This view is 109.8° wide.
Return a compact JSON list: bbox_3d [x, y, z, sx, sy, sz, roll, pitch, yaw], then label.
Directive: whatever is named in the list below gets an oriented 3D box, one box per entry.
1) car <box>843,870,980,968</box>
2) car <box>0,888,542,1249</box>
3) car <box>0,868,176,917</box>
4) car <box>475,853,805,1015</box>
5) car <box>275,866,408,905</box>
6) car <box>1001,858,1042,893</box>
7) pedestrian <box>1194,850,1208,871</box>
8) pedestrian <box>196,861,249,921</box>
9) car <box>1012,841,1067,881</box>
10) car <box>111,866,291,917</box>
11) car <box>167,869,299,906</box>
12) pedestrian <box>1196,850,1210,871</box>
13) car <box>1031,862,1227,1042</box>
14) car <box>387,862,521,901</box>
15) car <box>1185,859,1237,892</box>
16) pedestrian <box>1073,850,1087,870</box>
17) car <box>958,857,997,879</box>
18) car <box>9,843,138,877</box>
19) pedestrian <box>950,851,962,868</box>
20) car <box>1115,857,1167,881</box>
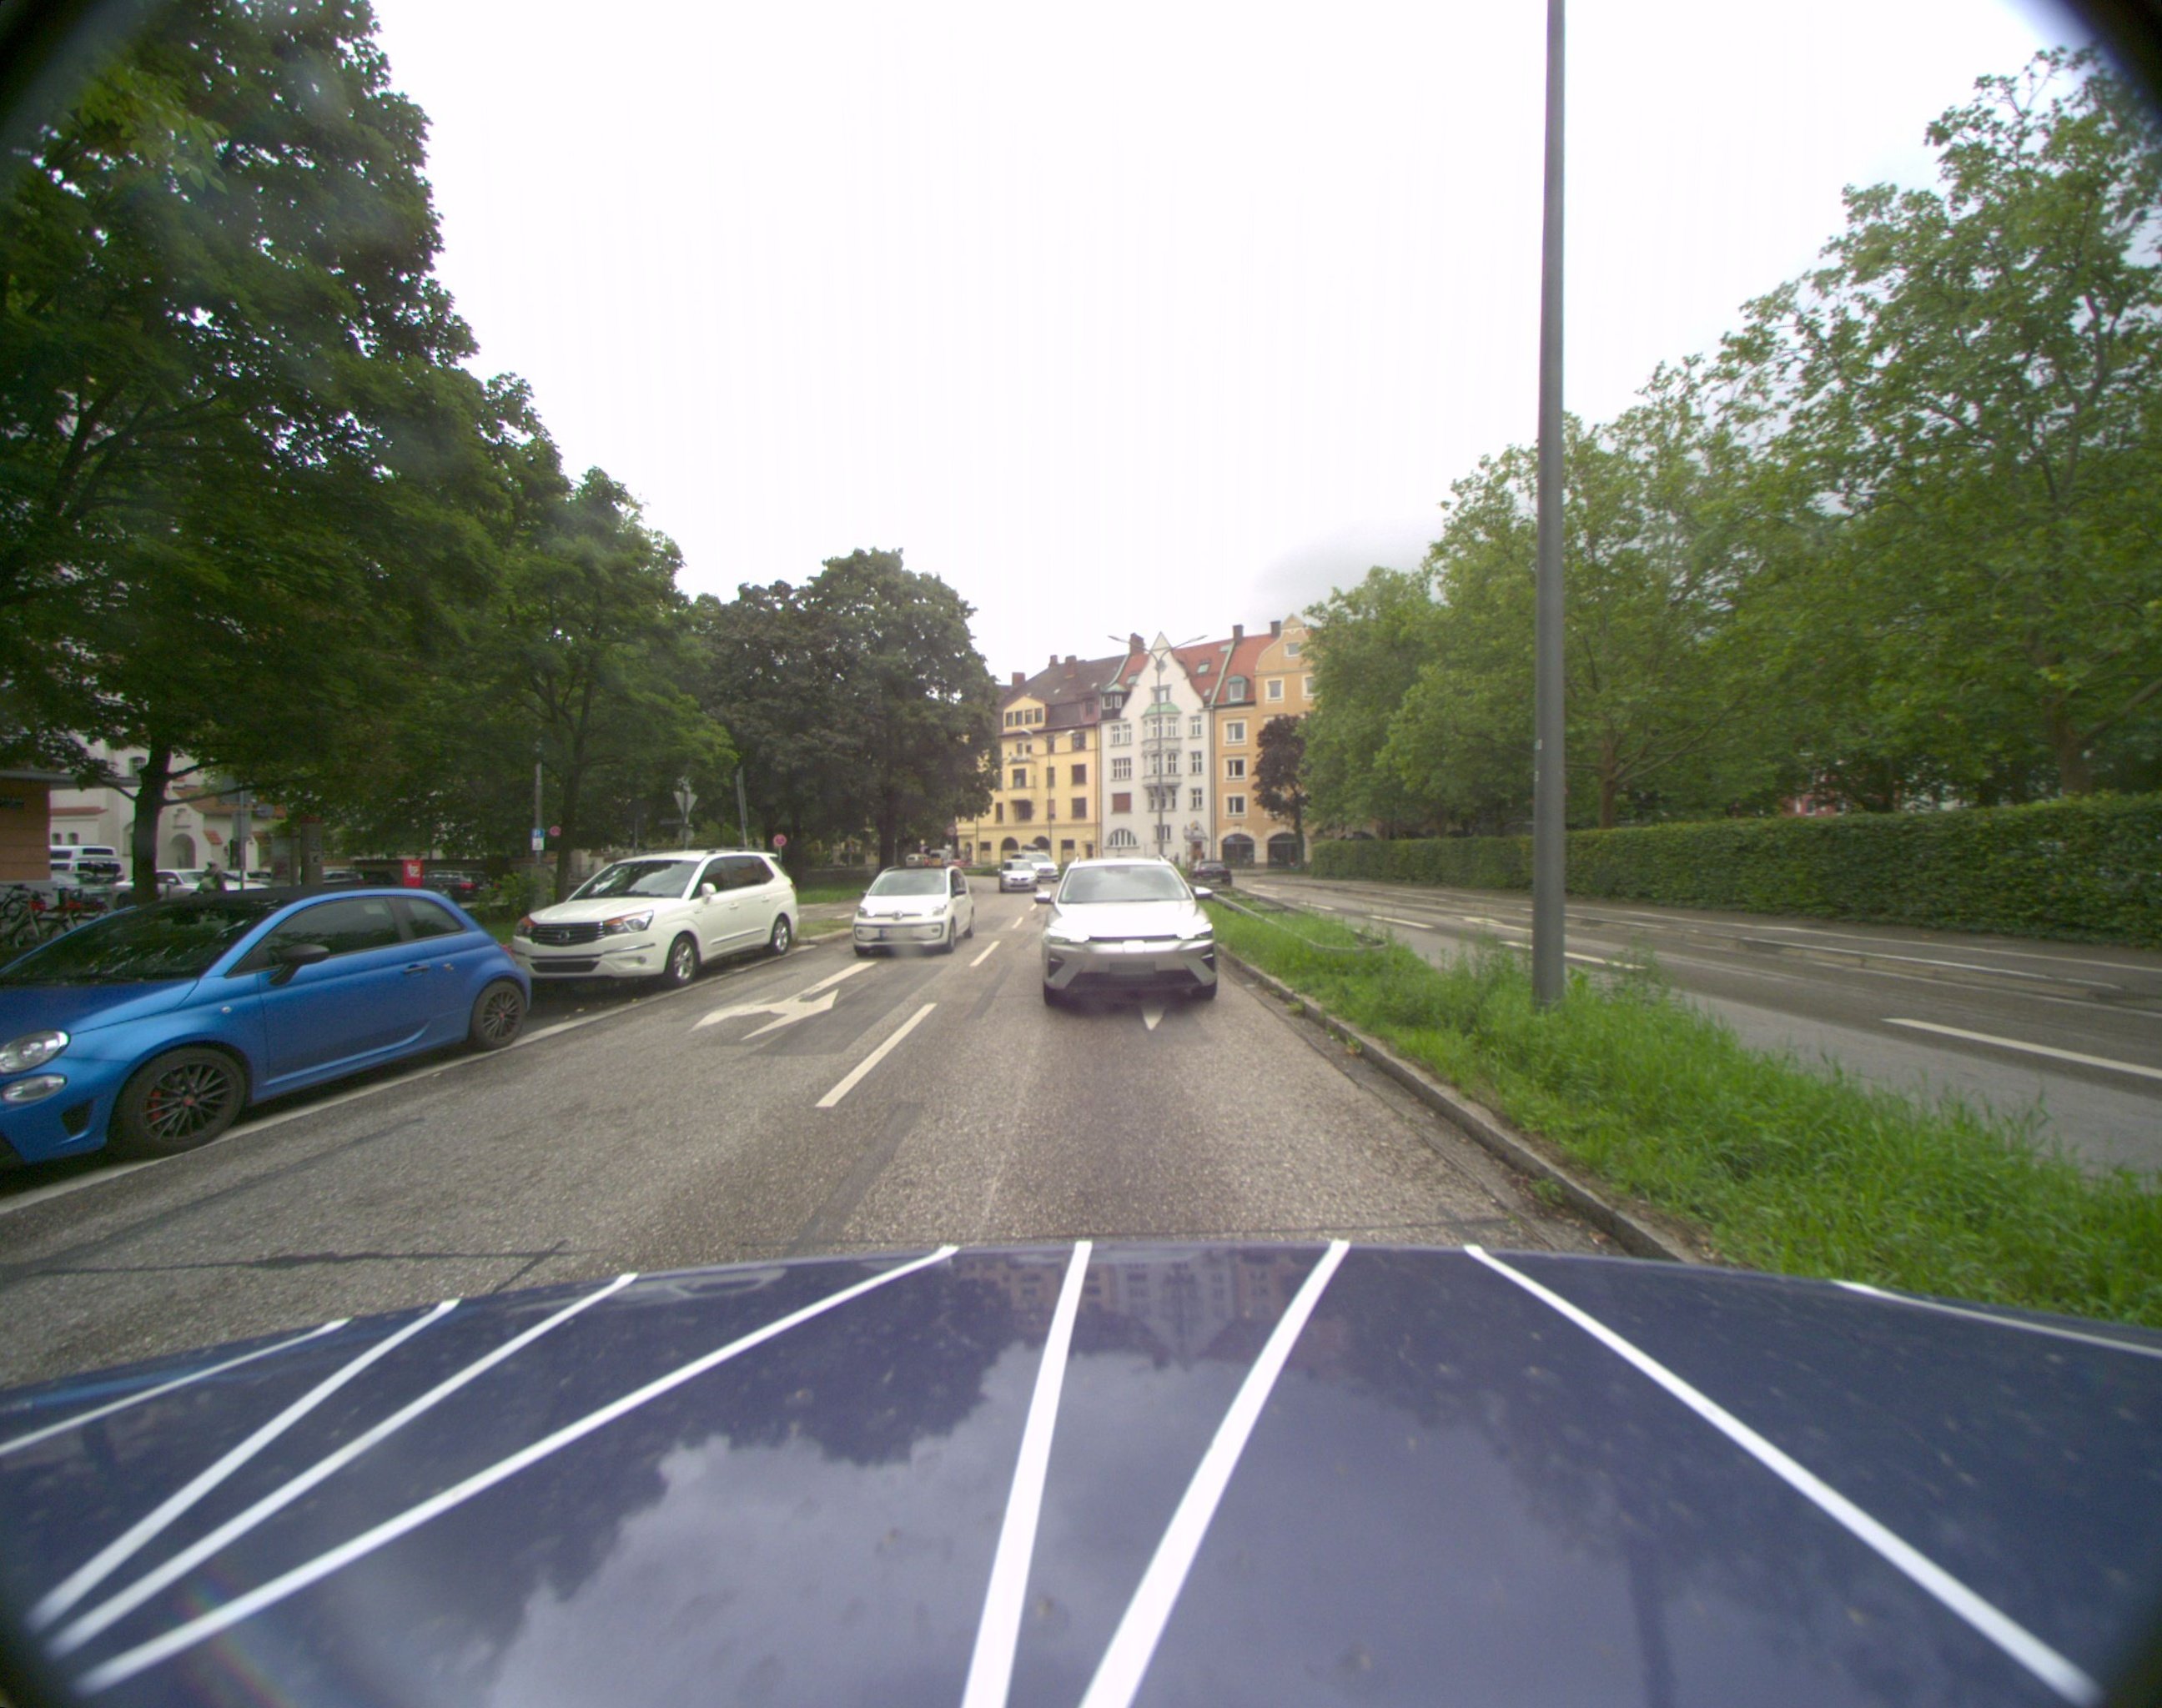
[{"bbox_3d":[-2.905,1.057,13.744,1.648,1.457,3.619,0,0,0],"label":"car"},{"bbox_3d":[-5.816,1.091,5.240,1.523,1.540,3.662,-1,0,1],"label":"car"},{"bbox_3d":[-34.289,1.301,26.241,4.436,1.458,1.862,-2,1,10],"label":"car"},{"bbox_3d":[-5.949,0.916,11.186,1.848,1.845,5.024,-1,0,1],"label":"car"},{"bbox_3d":[-32.230,1.362,33.178,4.436,1.458,1.862,-2,1,10],"label":"car"},{"bbox_3d":[-2.757,0.983,36.012,1.648,1.521,3.886,0,0,0],"label":"car"},{"bbox_3d":[11.469,0.617,72.742,1.005,2.002,0.880,-1,1,32],"label":"pedestrian"},{"bbox_3d":[-22.904,0.985,20.287,0.602,1.543,0.644,-2,1,7],"label":"pedestrian"},{"bbox_3d":[-2.601,0.402,46.523,1.916,2.337,4.936,-1,0,-21],"label":"car"},{"bbox_3d":[-29.276,1.225,25.335,4.436,1.458,1.862,-2,1,10],"label":"car"},{"bbox_3d":[-38.491,1.499,34.528,4.436,1.458,1.862,-2,1,10],"label":"car"},{"bbox_3d":[11.798,0.613,73.570,1.005,2.002,0.880,-1,1,32],"label":"pedestrian"},{"bbox_3d":[0.416,0.882,8.598,1.710,1.521,3.886,0,0,0],"label":"car"},{"bbox_3d":[-26.557,1.156,32.243,4.436,1.458,1.862,-2,1,10],"label":"car"},{"bbox_3d":[5.853,0.940,34.599,1.758,1.377,4.000,-1,0,1],"label":"car"},{"bbox_3d":[-0.114,0.652,80.183,1.005,2.002,0.880,-1,1,32],"label":"pedestrian"},{"bbox_3d":[-9.537,1.253,70.058,1.660,1.973,3.993,-1,0,-41],"label":"car"},{"bbox_3d":[-48.403,0.289,36.540,4.436,1.458,1.862,-2,1,10],"label":"car"},{"bbox_3d":[-14.848,0.669,90.030,1.005,2.002,0.880,-1,1,32],"label":"pedestrian"},{"bbox_3d":[3.516,0.859,45.174,1.761,1.377,3.994,-1,0,-16],"label":"car"}]
